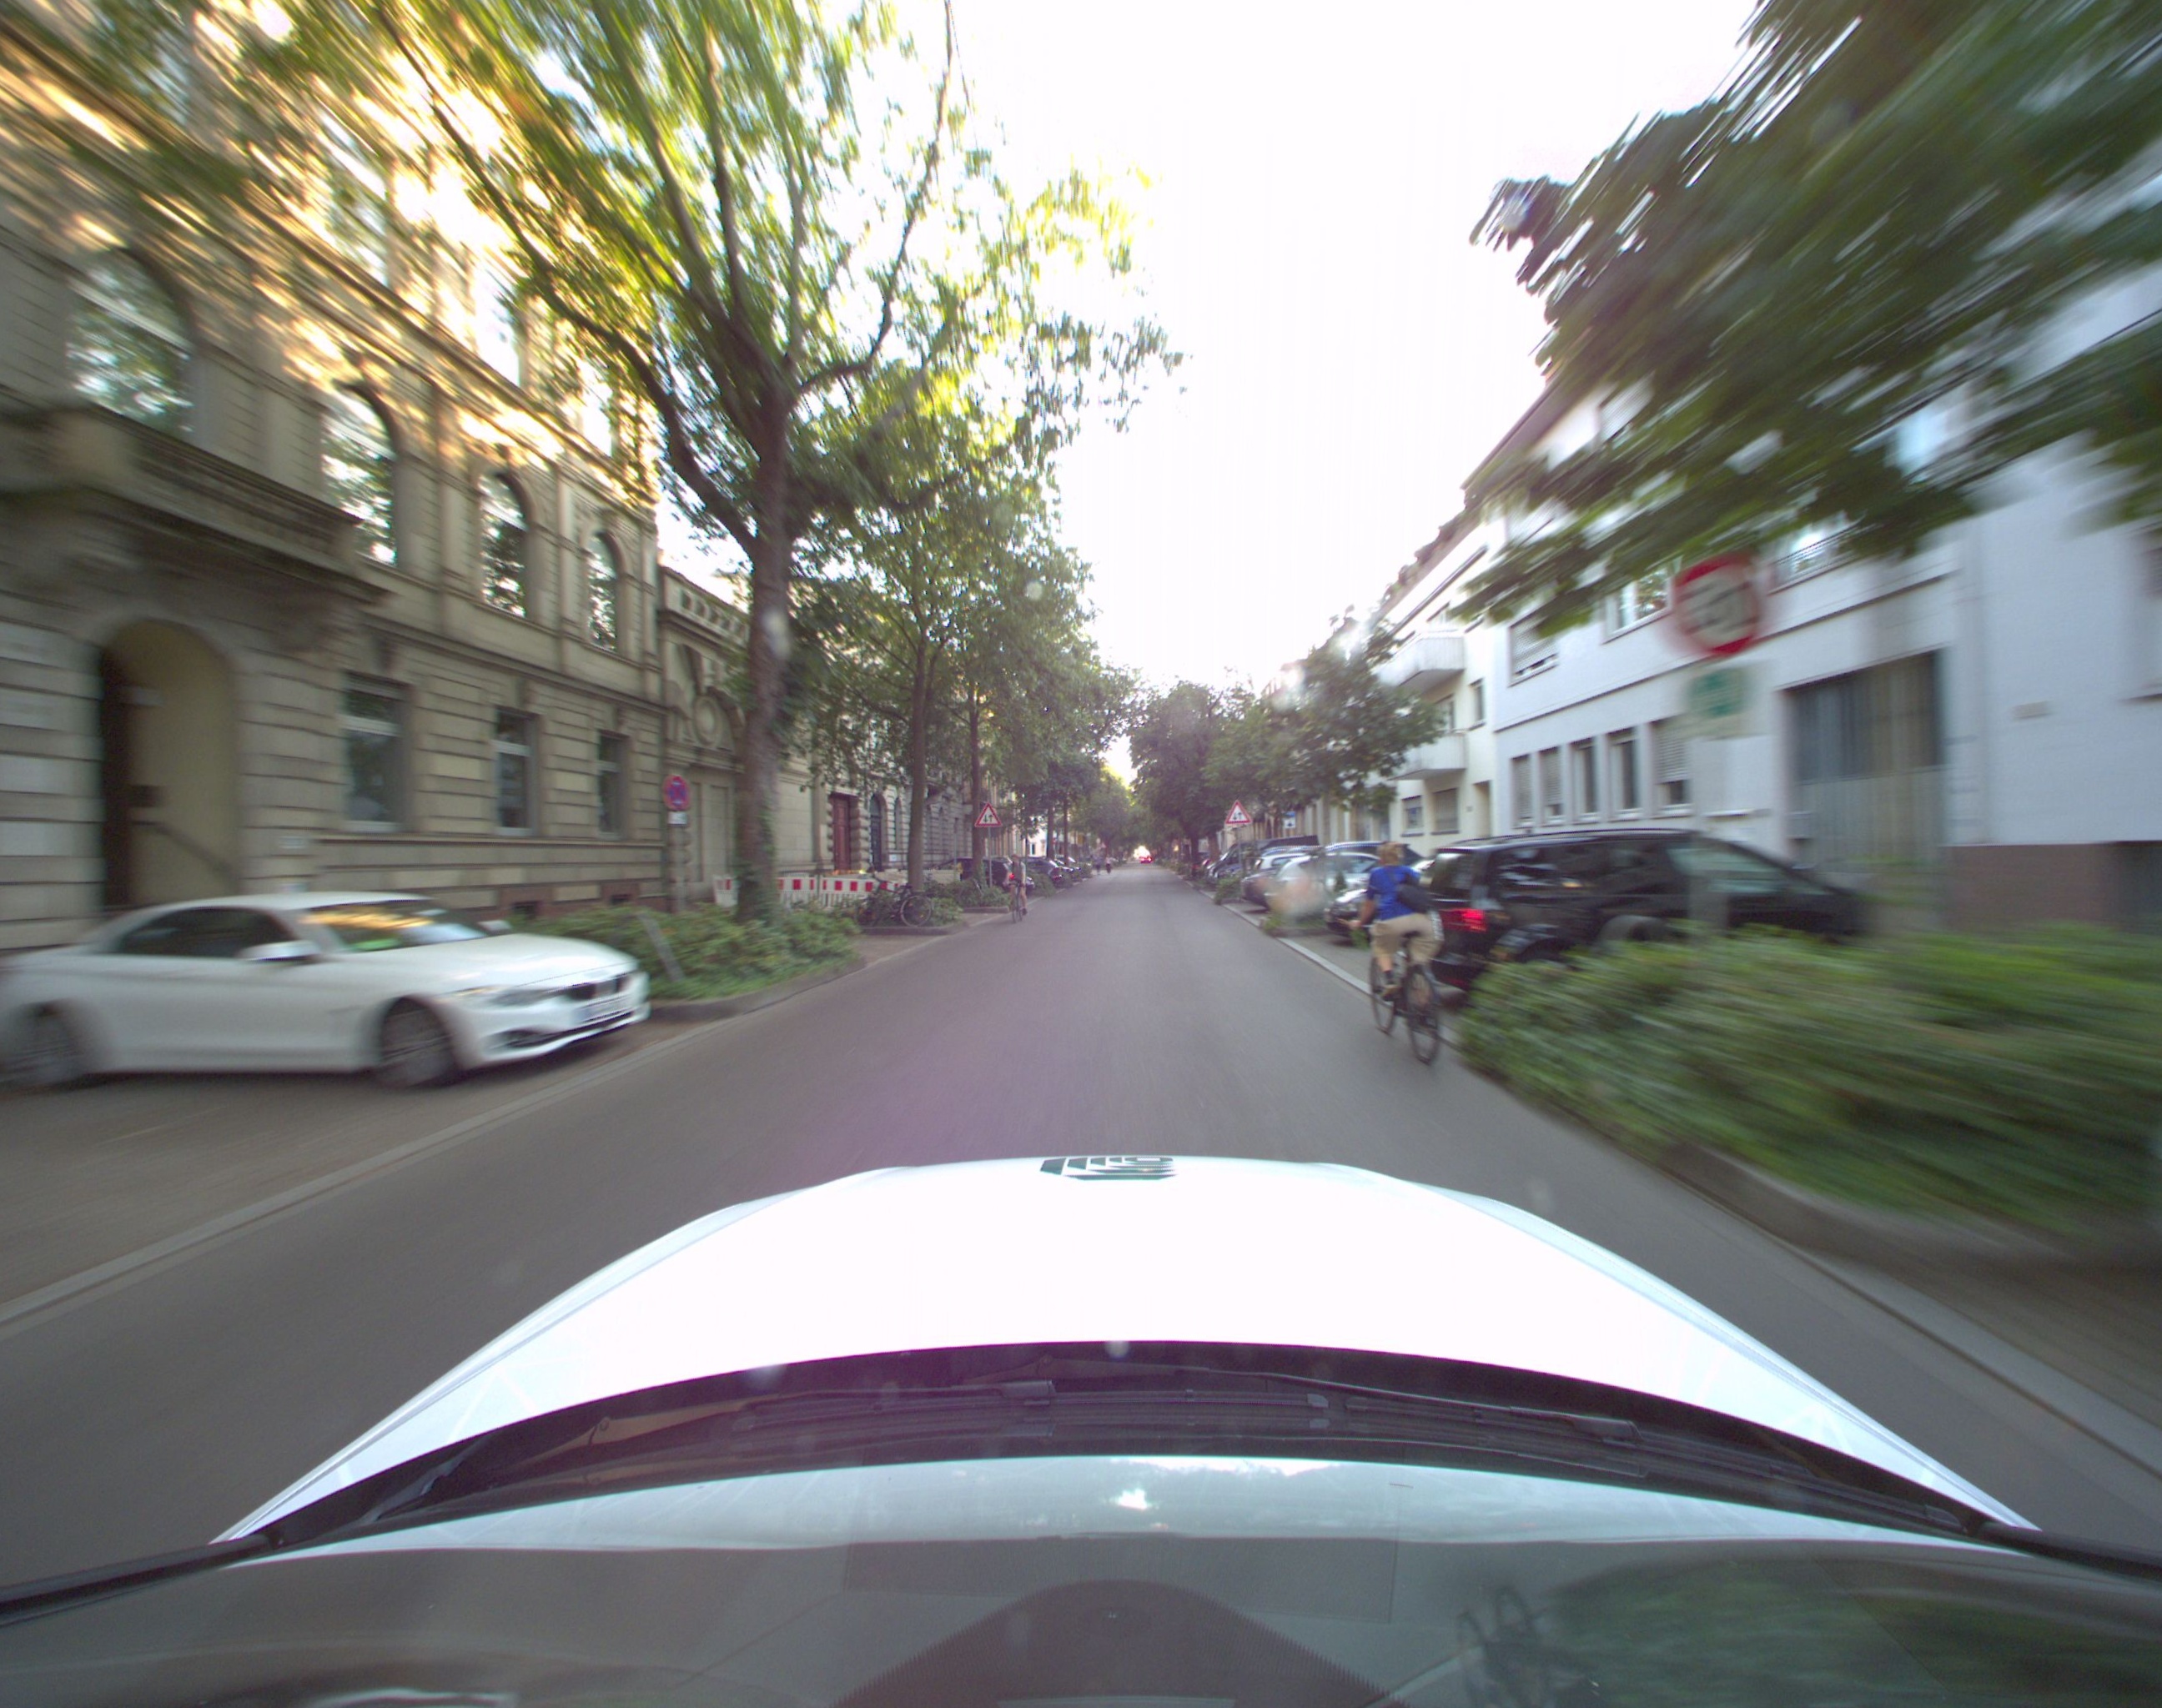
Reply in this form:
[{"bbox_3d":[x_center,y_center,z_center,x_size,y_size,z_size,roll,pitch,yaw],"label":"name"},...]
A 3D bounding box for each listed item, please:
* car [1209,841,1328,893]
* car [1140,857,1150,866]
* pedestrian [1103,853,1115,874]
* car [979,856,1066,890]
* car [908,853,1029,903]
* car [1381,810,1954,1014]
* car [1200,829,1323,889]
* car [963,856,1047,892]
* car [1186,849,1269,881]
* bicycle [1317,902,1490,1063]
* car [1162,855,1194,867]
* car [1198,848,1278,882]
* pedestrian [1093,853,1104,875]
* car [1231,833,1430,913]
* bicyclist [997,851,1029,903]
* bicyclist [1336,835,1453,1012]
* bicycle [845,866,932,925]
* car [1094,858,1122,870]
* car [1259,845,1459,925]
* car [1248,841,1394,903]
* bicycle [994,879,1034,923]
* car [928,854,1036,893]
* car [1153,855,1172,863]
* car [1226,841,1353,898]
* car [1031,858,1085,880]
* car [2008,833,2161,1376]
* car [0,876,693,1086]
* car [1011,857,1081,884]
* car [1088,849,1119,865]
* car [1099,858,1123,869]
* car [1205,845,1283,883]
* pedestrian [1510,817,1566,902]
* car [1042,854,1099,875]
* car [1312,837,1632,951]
[{"bbox_3d":[7.210,0.490,31.703,4.139,1.578,1.971,-5,-1,2],"label":"car"},{"bbox_3d":[12.942,1.496,164.021,1.947,1.565,4.287,-4,-1,4],"label":"car"},{"bbox_3d":[2.329,0.800,68.375,0.793,1.670,0.829,-3,-1,-6],"label":"pedestrian"},{"bbox_3d":[-2.927,0.953,41.667,4.182,1.672,1.910,0,0,4],"label":"car"},{"bbox_3d":[-3.969,0.848,29.212,3.947,1.597,1.783,2,0,4],"label":"car"},{"bbox_3d":[5.324,0.515,7.950,4.090,1.617,1.963,-2,0,4],"label":"car"},{"bbox_3d":[7.513,0.213,34.358,4.669,2.011,2.039,-5,-1,3],"label":"car"},{"bbox_3d":[-3.620,0.939,39.288,3.785,1.672,1.715,0,0,3],"label":"car"},{"bbox_3d":[8.373,0.650,46.903,4.384,1.394,1.886,-5,-1,2],"label":"car"},{"bbox_3d":[2.548,0.960,6.701,0.669,1.030,1.977,0,-1,1],"label":"bicycle"},{"bbox_3d":[14.387,1.031,120.699,4.694,1.710,1.953,-2,0,5],"label":"car"},{"bbox_3d":[8.505,0.608,44.386,3.971,1.437,1.928,-5,-1,2],"label":"car"},{"bbox_3d":[1.452,0.829,68.382,0.793,1.737,0.829,-3,-1,-6],"label":"pedestrian"},{"bbox_3d":[6.410,0.480,21.357,4.571,1.578,1.946,-5,-1,3],"label":"car"},{"bbox_3d":[-1.718,0.577,20.567,0.669,1.263,0.649,-2,0,4],"label":"bicyclist"},{"bbox_3d":[2.550,0.540,6.699,0.669,1.363,0.777,0,-1,1],"label":"bicyclist"},{"bbox_3d":[-4.171,0.900,17.659,1.760,1.232,0.501,-1,-2,9],"label":"bicycle"},{"bbox_3d":[4.762,1.758,142.300,4.661,1.854,1.965,-4,-1,4],"label":"car"},{"bbox_3d":[6.393,0.709,19.106,4.054,1.429,1.821,-5,-1,6],"label":"car"},{"bbox_3d":[7.059,0.524,24.210,3.777,1.423,1.699,-5,-1,3],"label":"car"},{"bbox_3d":[-1.680,1.179,20.673,0.669,0.993,1.760,-2,0,5],"label":"bicycle"},{"bbox_3d":[-3.904,0.751,32.538,3.946,1.387,1.767,1,1,5],"label":"car"},{"bbox_3d":[19.184,1.183,192.120,4.249,1.565,1.965,-4,-1,4],"label":"car"},{"bbox_3d":[7.254,0.526,28.629,3.949,1.578,1.853,-5,-1,3],"label":"car"},{"bbox_3d":[-1.614,1.068,58.403,3.676,1.458,1.874,0,0,3],"label":"car"},{"bbox_3d":[4.775,0.597,1.460,3.968,1.437,1.796,-2,0,4],"label":"car"},{"bbox_3d":[-5.921,0.950,6.738,4.491,1.390,1.919,-2,-1,5],"label":"car"},{"bbox_3d":[-2.035,0.967,48.551,3.928,1.532,1.909,-1,-1,3],"label":"car"},{"bbox_3d":[3.596,0.516,129.920,4.661,2.478,2.002,-2,-1,4],"label":"car"},{"bbox_3d":[5.486,1.749,150.003,4.184,1.635,1.965,-4,-1,4],"label":"car"},{"bbox_3d":[8.310,0.511,41.775,3.663,1.578,1.716,-5,-1,4],"label":"car"},{"bbox_3d":[10.007,0.119,17.858,0.694,1.795,0.882,-2,0,5],"label":"pedestrian"},{"bbox_3d":[-0.794,0.846,65.775,4.405,1.651,1.875,0,0,5],"label":"car"},{"bbox_3d":[6.188,0.619,13.292,4.297,1.496,1.795,-3,-1,3],"label":"car"}]
